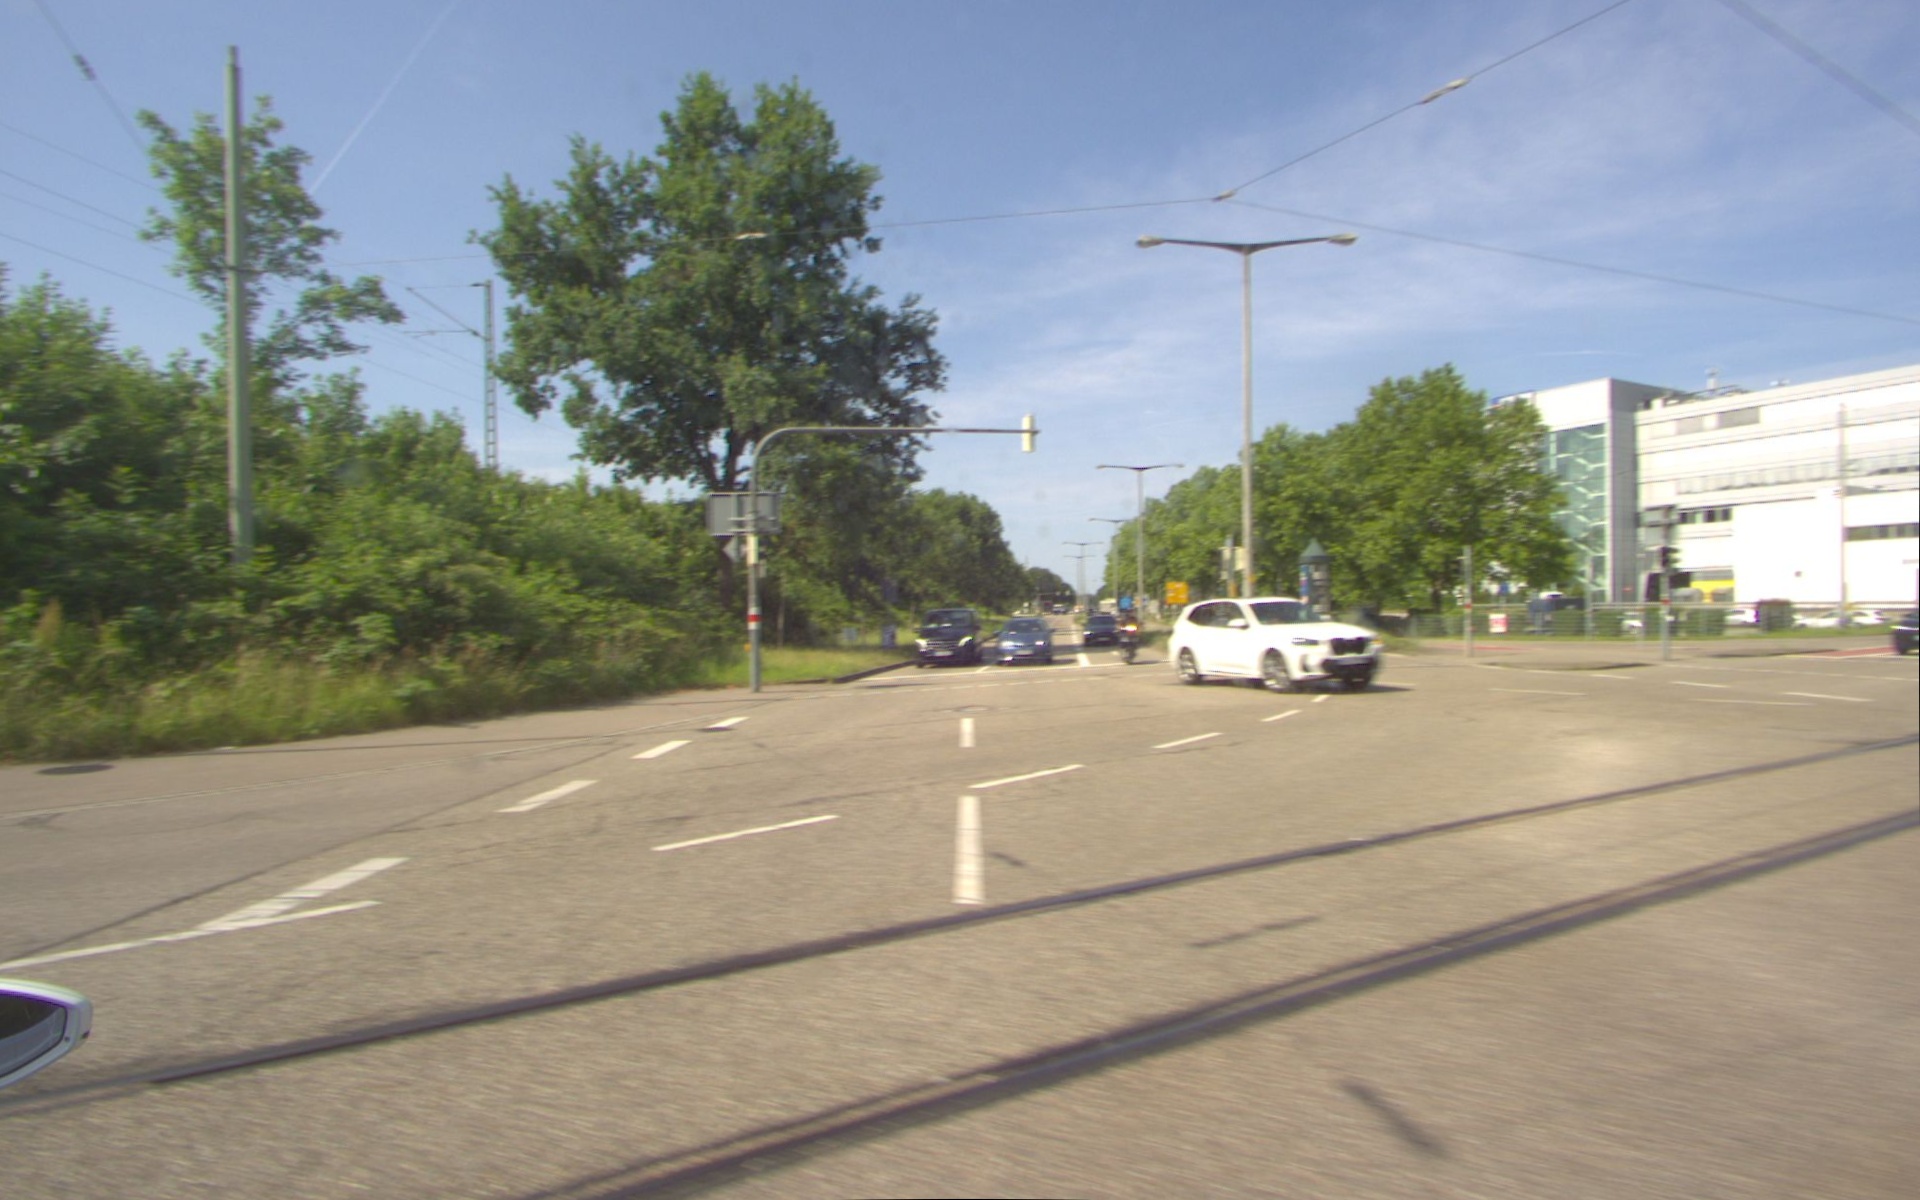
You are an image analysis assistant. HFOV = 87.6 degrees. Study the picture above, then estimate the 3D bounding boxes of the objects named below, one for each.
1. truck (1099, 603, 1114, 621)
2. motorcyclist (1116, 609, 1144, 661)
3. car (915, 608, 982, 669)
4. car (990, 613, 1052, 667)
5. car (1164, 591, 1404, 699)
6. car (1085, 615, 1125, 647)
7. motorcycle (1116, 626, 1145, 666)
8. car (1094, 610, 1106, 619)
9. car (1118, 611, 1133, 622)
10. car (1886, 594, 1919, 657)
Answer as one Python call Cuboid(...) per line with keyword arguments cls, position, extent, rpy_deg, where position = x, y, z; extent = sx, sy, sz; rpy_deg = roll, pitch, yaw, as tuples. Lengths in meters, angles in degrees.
Cuboid(cls="truck", position=(30.078, 2.500, 205.322), extent=(2.796, 3.624, 8.717), rpy_deg=(-1, -1, 9))
Cuboid(cls="motorcyclist", position=(4.986, 1.019, 29.416), extent=(0.723, 1.465, 0.873), rpy_deg=(-2, -1, 7))
Cuboid(cls="car", position=(-0.307, 1.206, 32.461), extent=(1.819, 1.838, 4.000), rpy_deg=(-1, -1, 4))
Cuboid(cls="car", position=(1.939, 1.219, 31.688), extent=(1.819, 1.582, 4.000), rpy_deg=(-1, -1, 4))
Cuboid(cls="car", position=(5.732, 0.760, 18.424), extent=(1.882, 1.711, 4.619), rpy_deg=(-1, -1, -17))
Cuboid(cls="car", position=(6.856, 1.435, 47.752), extent=(1.687, 1.396, 4.472), rpy_deg=(-2, -1, 6))
Cuboid(cls="motorcycle", position=(4.988, 1.328, 29.371), extent=(0.723, 1.096, 2.044), rpy_deg=(-2, -1, 7))
Cuboid(cls="car", position=(22.410, 2.289, 160.576), extent=(1.721, 1.362, 4.378), rpy_deg=(-1, -1, 7))
Cuboid(cls="car", position=(19.212, 1.919, 116.208), extent=(1.616, 1.252, 3.252), rpy_deg=(-1, -1, 7))
Cuboid(cls="car", position=(28.490, 0.686, 28.496), extent=(4.560, 1.711, 1.906), rpy_deg=(0, -1, -30))
